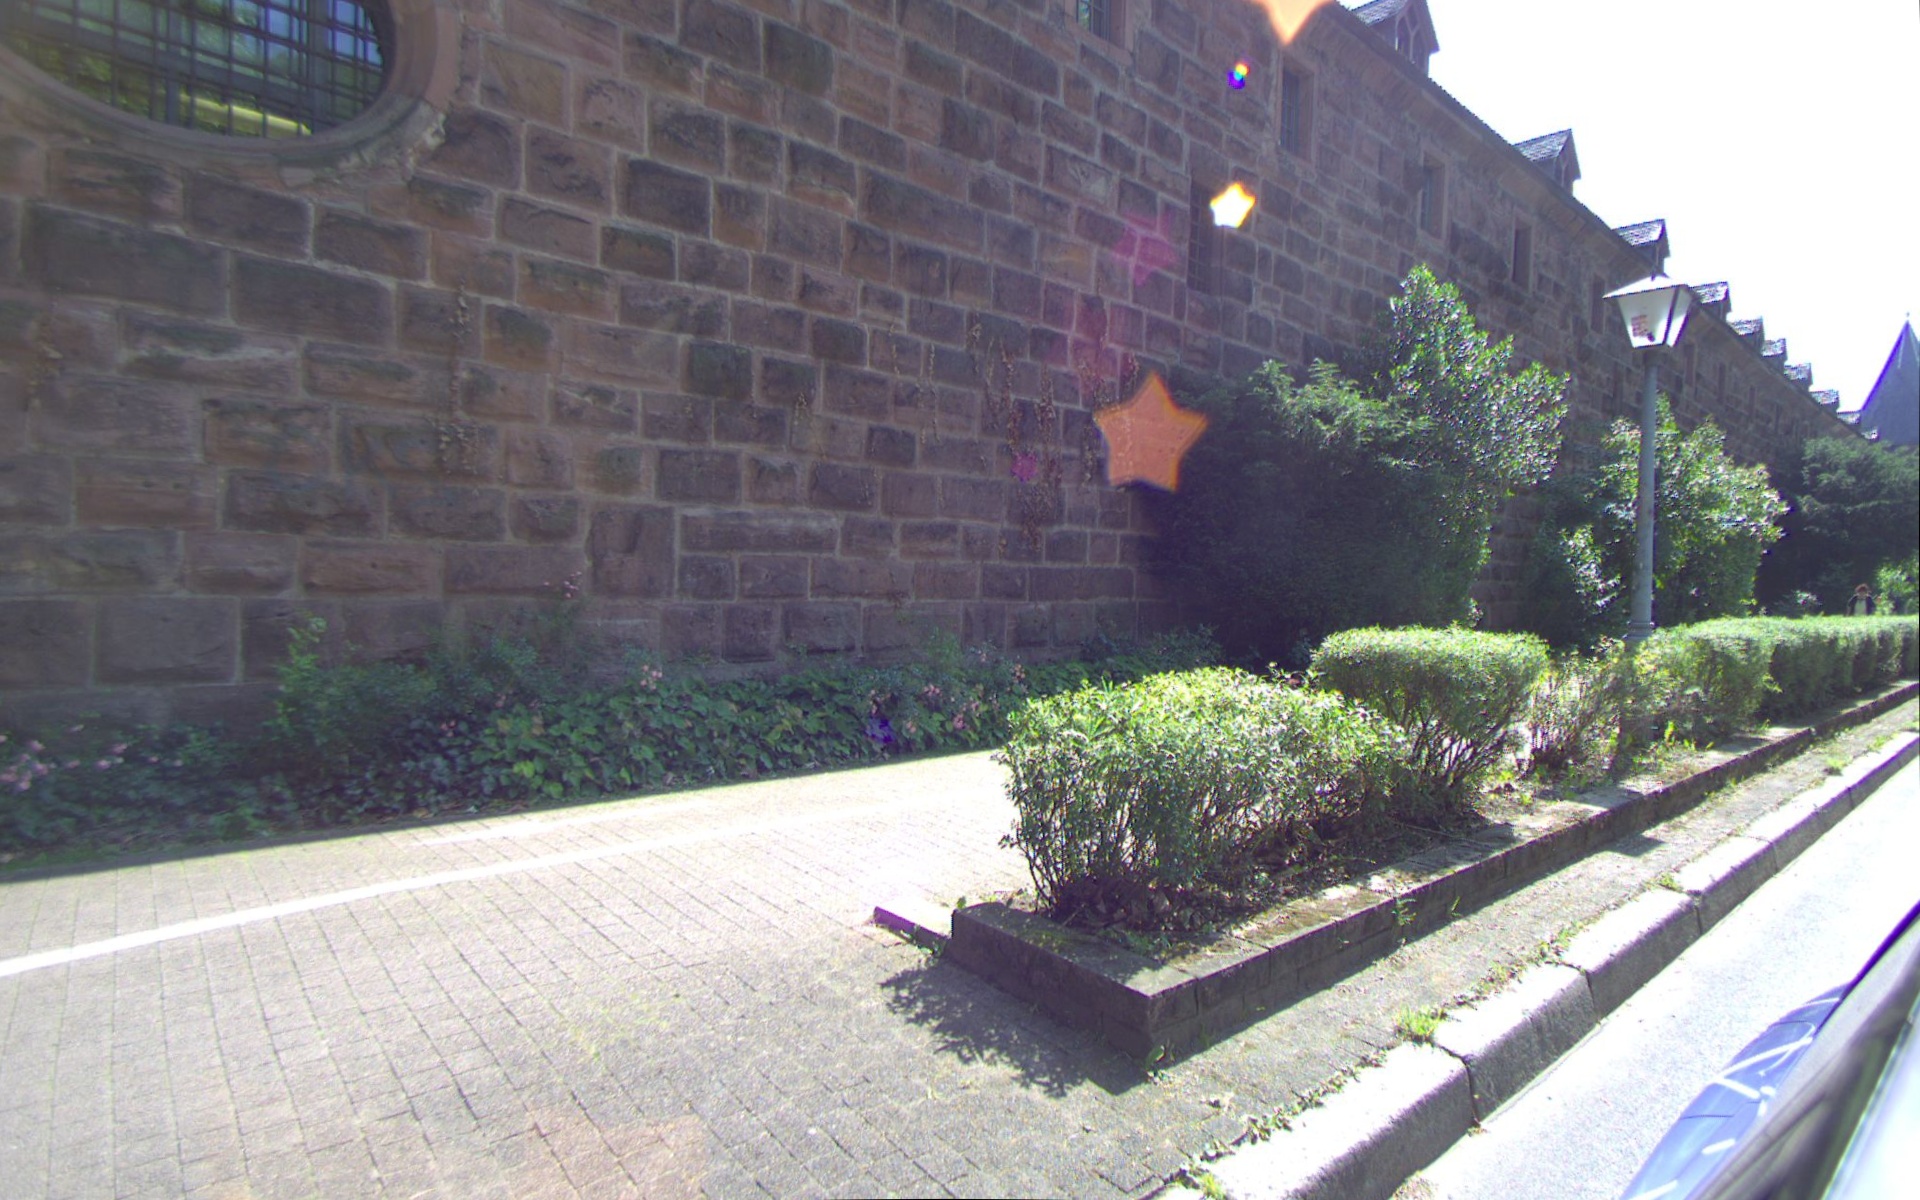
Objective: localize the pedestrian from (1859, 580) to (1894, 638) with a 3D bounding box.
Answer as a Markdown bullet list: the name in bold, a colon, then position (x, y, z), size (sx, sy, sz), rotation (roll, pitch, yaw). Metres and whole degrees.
- **pedestrian**: position (25.423, 0.254, 28.075), size (0.554, 1.583, 0.642), rotation (0, 0, -41)
